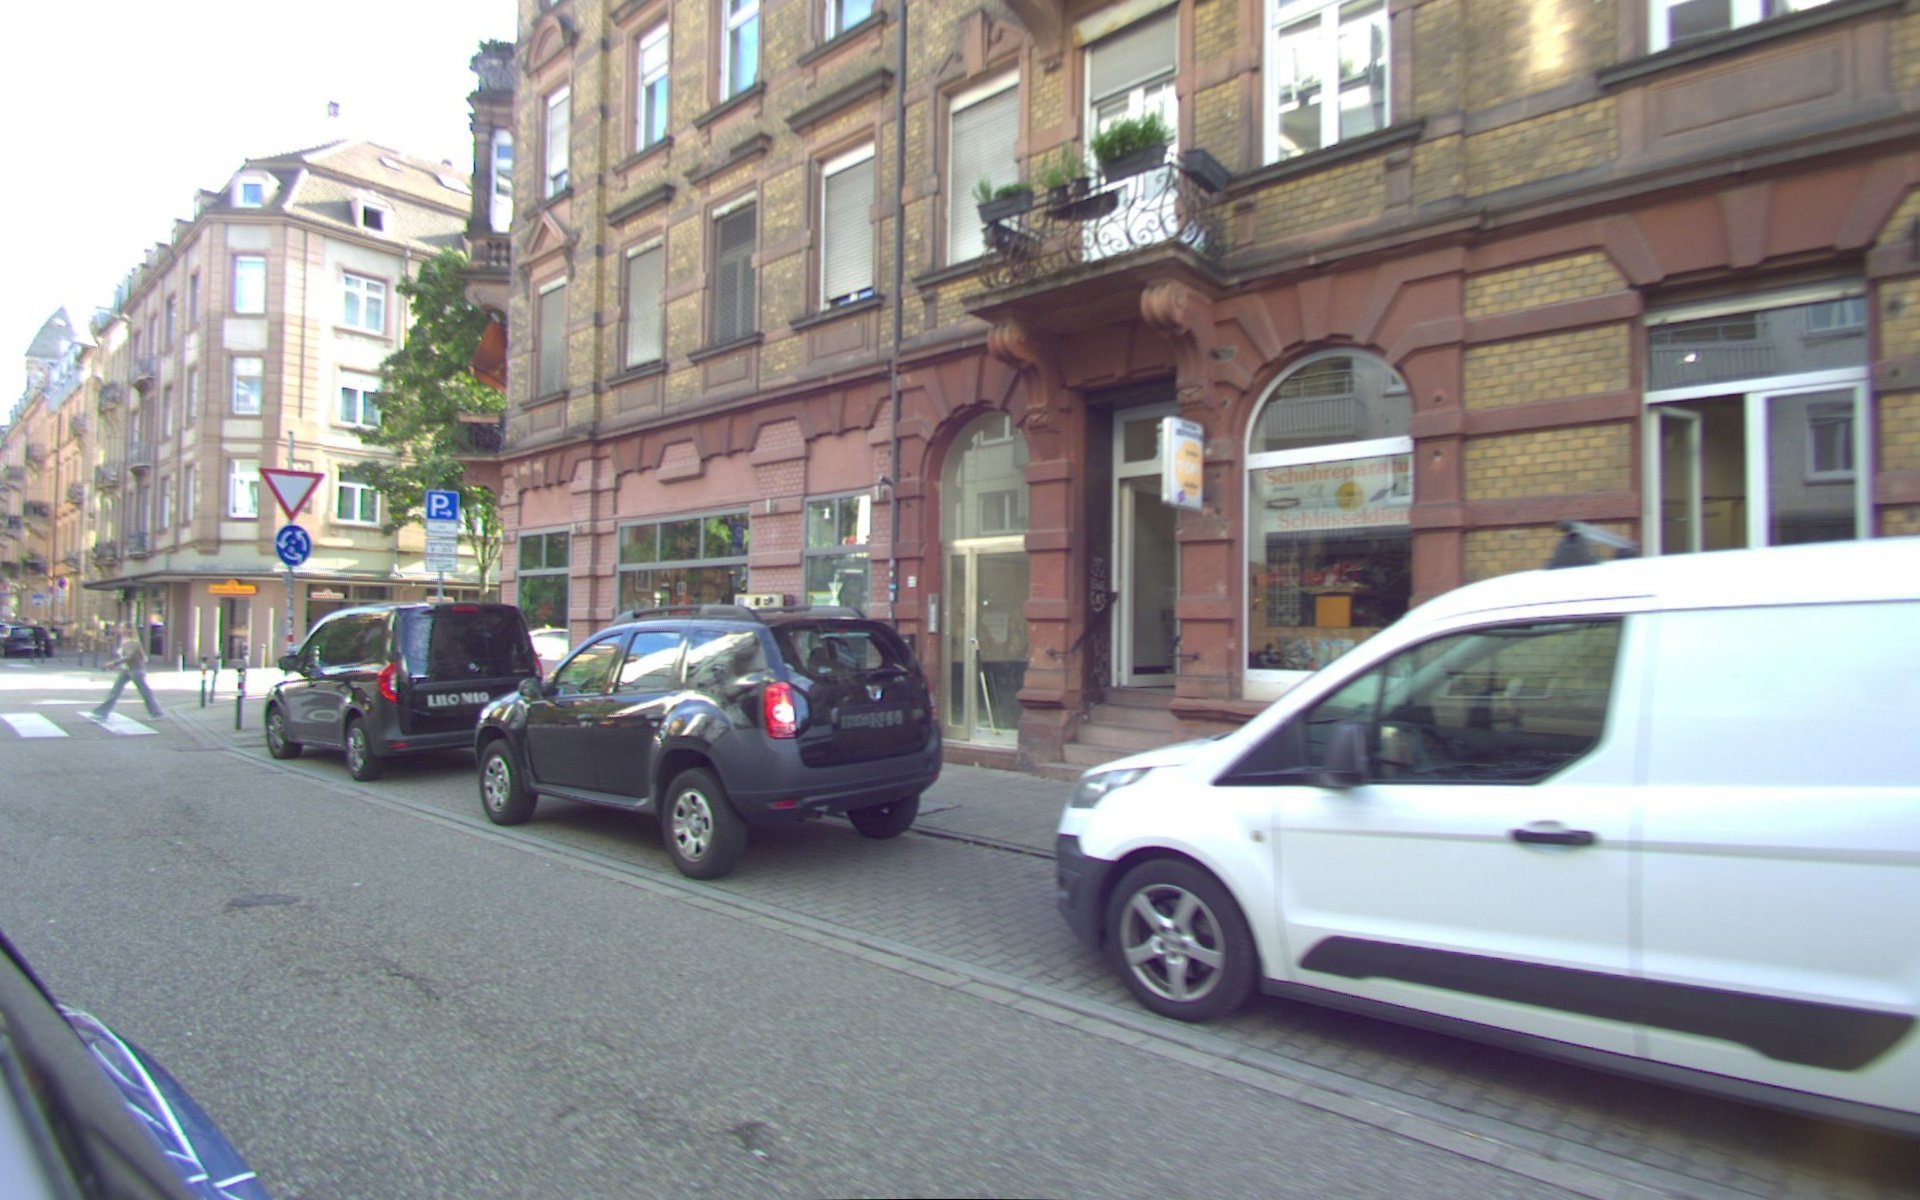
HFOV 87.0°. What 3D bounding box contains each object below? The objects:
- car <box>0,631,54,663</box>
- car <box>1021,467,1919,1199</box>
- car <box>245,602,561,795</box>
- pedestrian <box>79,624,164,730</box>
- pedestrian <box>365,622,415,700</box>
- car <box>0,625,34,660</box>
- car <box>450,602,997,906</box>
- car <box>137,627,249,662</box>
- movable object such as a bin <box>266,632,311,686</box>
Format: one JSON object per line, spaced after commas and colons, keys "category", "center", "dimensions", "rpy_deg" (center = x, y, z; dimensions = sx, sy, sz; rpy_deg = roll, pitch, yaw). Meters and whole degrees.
{"category": "car", "center": [-41.667, 2.066, 44.961], "dimensions": [3.829, 1.379, 1.700], "rpy_deg": [-2, -2, 42]}
{"category": "car", "center": [2.541, 0.645, 3.567], "dimensions": [4.435, 1.886, 1.899], "rpy_deg": [-2, -2, 42]}
{"category": "car", "center": [-6.475, 0.979, 11.538], "dimensions": [4.403, 1.787, 1.741], "rpy_deg": [-2, -1, 41]}
{"category": "pedestrian", "center": [-12.991, 1.175, 15.693], "dimensions": [0.612, 1.590, 0.802], "rpy_deg": [-2, -3, 27]}
{"category": "pedestrian", "center": [-12.675, 1.354, 22.543], "dimensions": [0.790, 1.683, 1.026], "rpy_deg": [2, -2, -22]}
{"category": "car", "center": [-45.682, 2.017, 48.276], "dimensions": [4.398, 1.597, 1.837], "rpy_deg": [-1, -2, 42]}
{"category": "car", "center": [-1.950, 0.917, 7.637], "dimensions": [4.143, 1.650, 1.973], "rpy_deg": [-2, -3, 41]}
{"category": "car", "center": [-37.404, 2.154, 49.431], "dimensions": [1.994, 1.633, 3.955], "rpy_deg": [-2, -2, 33]}
{"category": "movable object such as a bin", "center": [-9.284, 0.807, 13.993], "dimensions": [0.475, 0.719, 0.379], "rpy_deg": [-2, -2, 38]}
